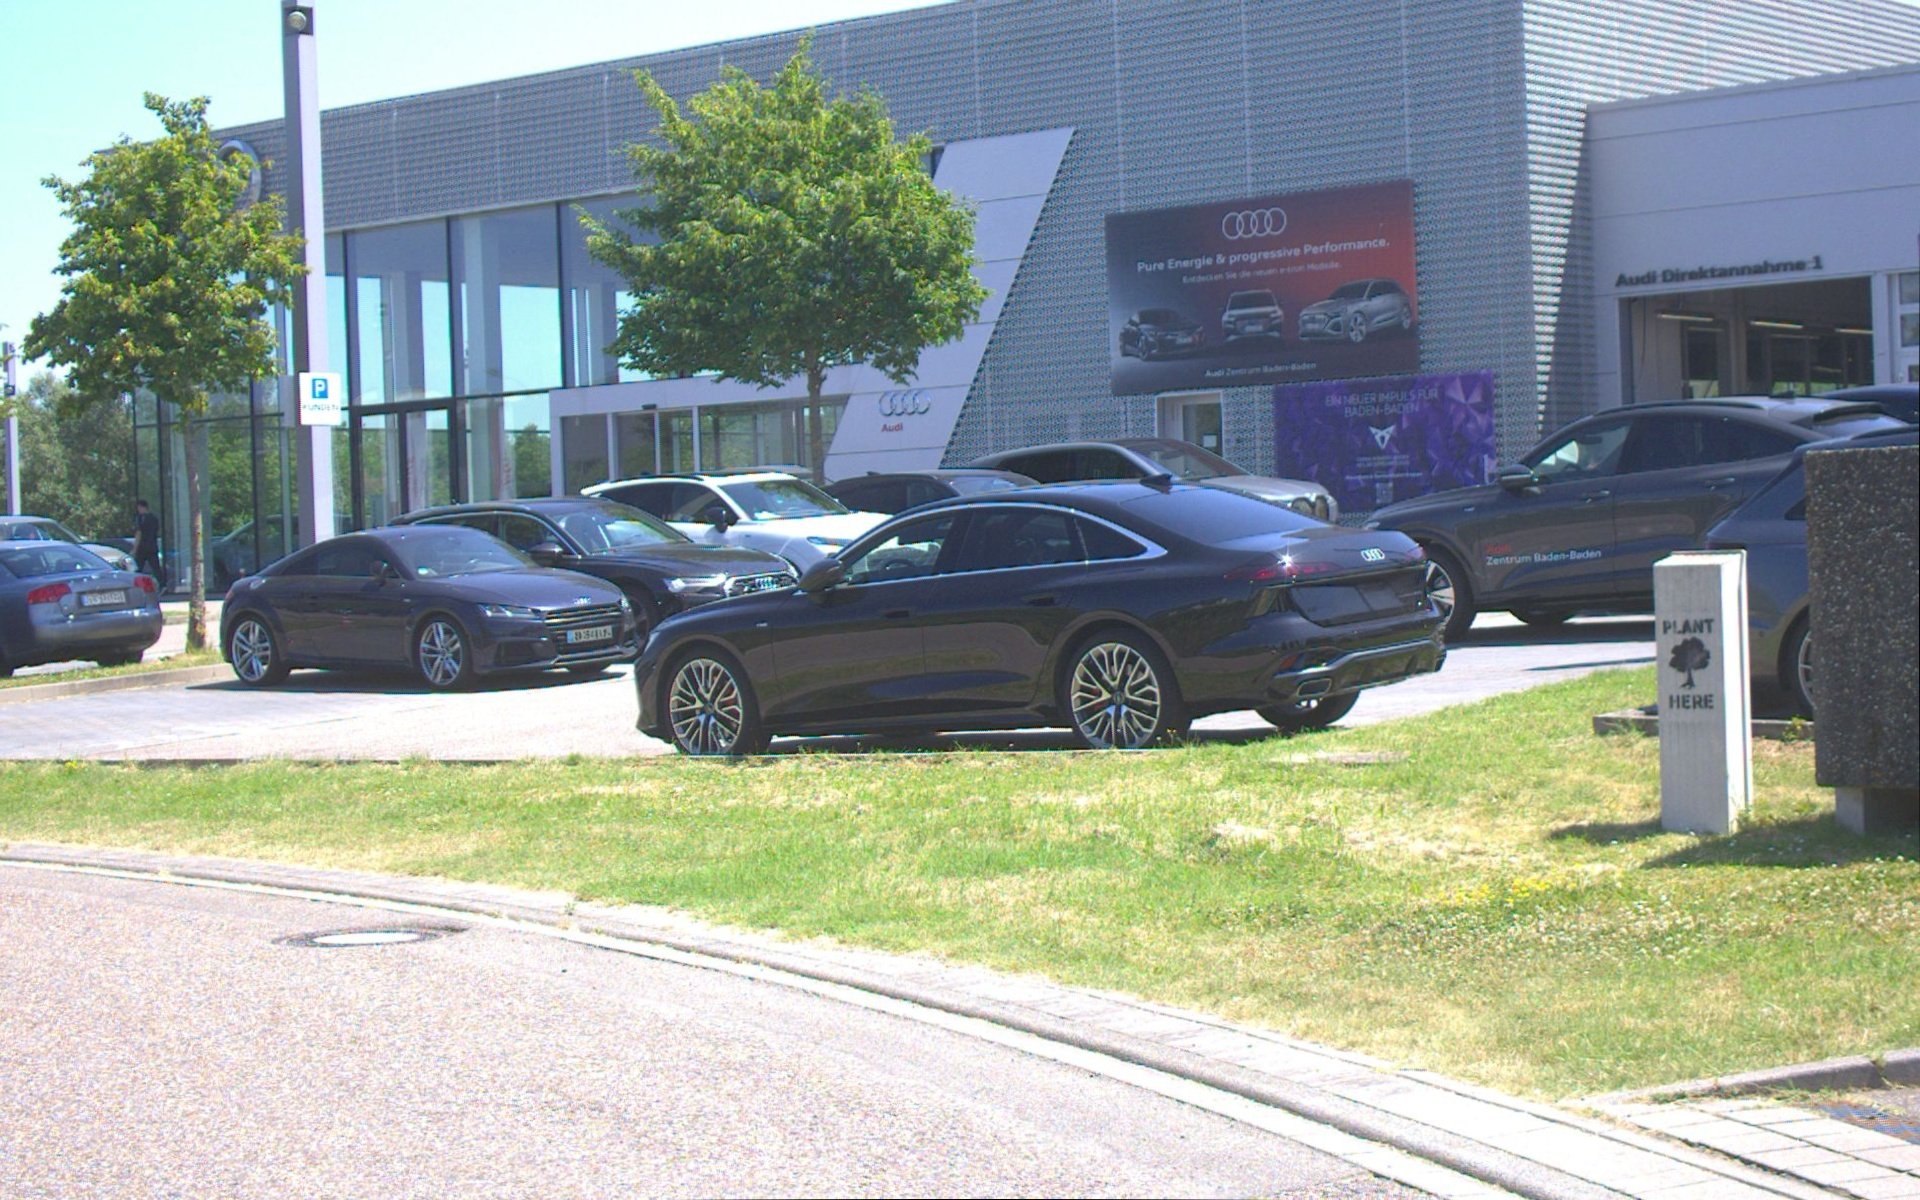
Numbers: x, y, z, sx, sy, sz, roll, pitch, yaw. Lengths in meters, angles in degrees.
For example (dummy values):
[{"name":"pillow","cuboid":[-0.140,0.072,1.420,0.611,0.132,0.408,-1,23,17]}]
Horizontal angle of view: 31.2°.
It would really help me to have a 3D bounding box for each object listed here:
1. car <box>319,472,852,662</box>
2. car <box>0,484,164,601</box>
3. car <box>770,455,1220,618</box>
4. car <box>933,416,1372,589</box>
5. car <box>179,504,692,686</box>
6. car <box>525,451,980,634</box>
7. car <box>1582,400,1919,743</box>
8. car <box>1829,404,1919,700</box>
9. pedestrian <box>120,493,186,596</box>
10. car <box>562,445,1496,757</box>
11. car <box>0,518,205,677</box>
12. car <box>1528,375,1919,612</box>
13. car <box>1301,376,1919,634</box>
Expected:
[{"name":"car","cuboid":[-3.600,-0.291,32.504,5.000,1.547,1.964,-1,3,39]},{"name":"car","cuboid":[-14.964,-0.815,54.285,4.980,1.615,1.963,-4,1,40]},{"name":"car","cuboid":[0.328,-0.648,36.052,4.367,1.471,1.964,-1,3,39]},{"name":"car","cuboid":[2.182,-1.112,39.762,4.724,1.733,1.964,-2,3,39]},{"name":"car","cuboid":[-4.623,-0.030,30.018,4.307,1.370,1.964,-1,3,39]},{"name":"car","cuboid":[-2.127,-0.559,34.648,4.284,1.607,1.964,-2,3,39]},{"name":"car","cuboid":[5.400,-0.203,14.853,4.939,1.462,1.964,-1,3,39]},{"name":"car","cuboid":[7.078,-0.348,17.170,4.939,1.523,1.822,-1,3,39]},{"name":"pedestrian","cuboid":[-14.252,-0.975,60.700,0.744,1.770,0.771,-2,1,45]},{"name":"car","cuboid":[0.275,0.018,19.124,5.018,1.449,1.881,-1,4,39]},{"name":"car","cuboid":[-9.750,-0.003,34.460,4.223,1.361,1.964,-1,4,39]},{"name":"car","cuboid":[6.861,-0.832,26.808,4.412,1.688,1.826,-2,1,39]},{"name":"car","cuboid":[5.016,-0.651,24.929,4.780,1.637,1.826,-1,1,39]}]
